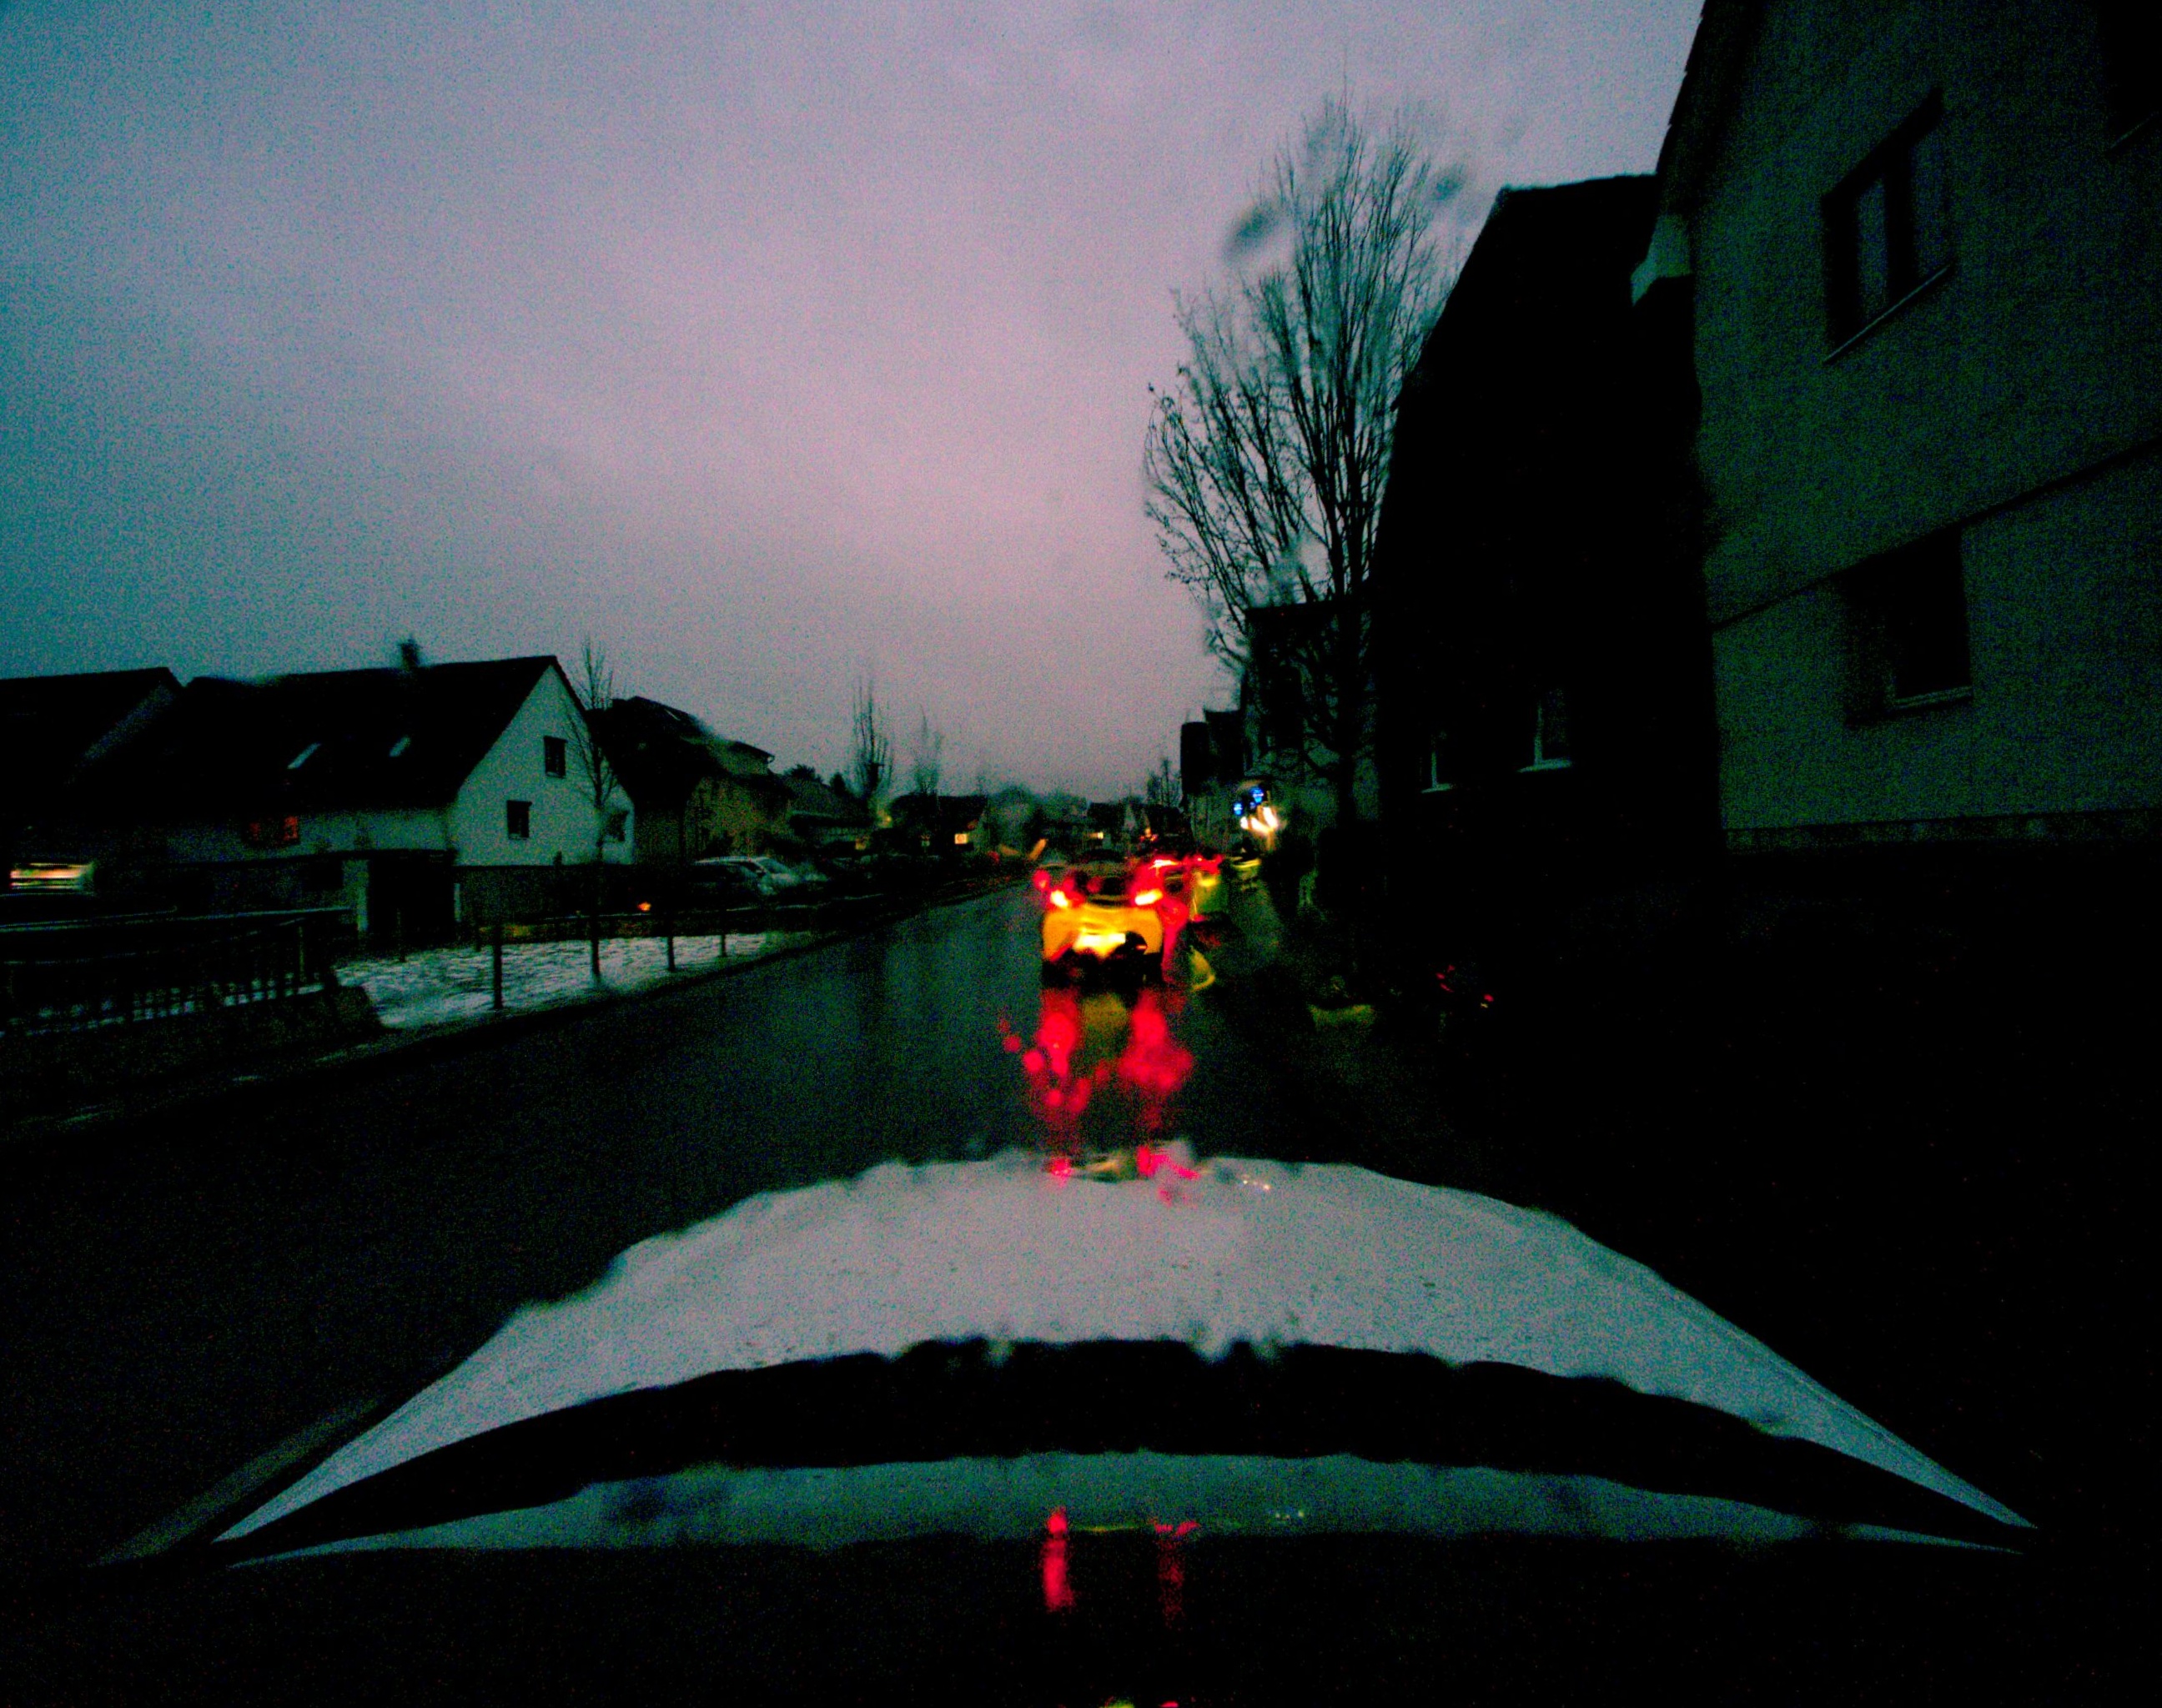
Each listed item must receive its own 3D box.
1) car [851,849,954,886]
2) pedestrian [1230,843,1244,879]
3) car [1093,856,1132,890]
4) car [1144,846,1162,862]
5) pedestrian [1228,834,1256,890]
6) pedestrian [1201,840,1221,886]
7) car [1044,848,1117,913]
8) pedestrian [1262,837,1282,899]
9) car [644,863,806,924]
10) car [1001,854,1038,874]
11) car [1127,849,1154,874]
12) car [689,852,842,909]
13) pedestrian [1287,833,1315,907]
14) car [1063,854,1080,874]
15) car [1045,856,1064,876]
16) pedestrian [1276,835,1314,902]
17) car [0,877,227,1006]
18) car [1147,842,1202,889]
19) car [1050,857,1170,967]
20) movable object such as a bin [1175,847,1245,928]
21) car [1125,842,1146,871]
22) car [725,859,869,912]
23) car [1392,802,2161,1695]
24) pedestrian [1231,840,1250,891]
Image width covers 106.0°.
[{"bbox_3d":[-8.730,0.665,40.129,4.612,1.667,1.999,-1,-1,-1],"label":"car"},{"bbox_3d":[7.642,0.350,39.823,0.614,1.727,0.503,-1,-3,13],"label":"pedestrian"},{"bbox_3d":[1.290,0.747,34.092,1.535,1.331,3.312,-1,0,2],"label":"car"},{"bbox_3d":[9.182,-0.014,103.135,1.859,1.835,4.455,-1,-2,10],"label":"car"},{"bbox_3d":[5.091,0.235,25.767,0.707,1.715,1.038,-3,0,15],"label":"pedestrian"},{"bbox_3d":[4.951,0.345,31.053,0.571,1.699,0.653,-4,-1,3],"label":"pedestrian"},{"bbox_3d":[0.065,0.679,22.539,1.759,1.628,3.589,-1,0,4],"label":"car"},{"bbox_3d":[5.622,0.403,24.048,0.525,1.800,0.867,-1,0,12],"label":"pedestrian"},{"bbox_3d":[-9.187,0.998,21.178,3.433,1.372,1.601,-2,0,0],"label":"car"},{"bbox_3d":[-7.142,1.181,94.068,2.011,2.167,4.331,2,-3,-44],"label":"car"},{"bbox_3d":[4.667,0.570,64.278,1.990,1.865,4.085,-1,-1,2],"label":"car"},{"bbox_3d":[-9.167,0.761,23.822,3.772,1.523,1.718,-1,-1,8],"label":"car"},{"bbox_3d":[5.054,0.373,18.761,0.525,1.653,0.956,-1,-3,12],"label":"pedestrian"},{"bbox_3d":[-1.048,1.158,95.164,1.913,2.216,3.974,0,-2,0],"label":"car"},{"bbox_3d":[-2.857,1.313,87.254,1.913,2.028,3.974,0,-2,0],"label":"car"},{"bbox_3d":[5.647,0.383,21.511,0.743,1.679,1.054,-4,-2,8],"label":"pedestrian"},{"bbox_3d":[-14.256,1.194,10.303,1.794,1.482,4.577,-4,0,4],"label":"car"},{"bbox_3d":[3.630,0.437,32.284,1.729,1.692,4.387,-2,0,1],"label":"car"},{"bbox_3d":[0.430,0.768,12.212,1.557,1.412,3.019,-1,0,2],"label":"car"},{"bbox_3d":[2.505,0.633,16.010,1.124,1.420,1.419,-5,0,4],"label":"movable object such as a bin"},{"bbox_3d":[5.097,0.270,76.662,1.862,2.469,4.446,-1,-2,3],"label":"car"},{"bbox_3d":[-9.184,1.006,26.452,4.074,1.608,1.589,-1,-1,4],"label":"car"},{"bbox_3d":[2.768,0.626,3.092,1.721,1.464,4.203,-5,0,4],"label":"car"},{"bbox_3d":[5.344,0.367,27.247,0.476,1.630,1.023,-3,0,15],"label":"pedestrian"}]
